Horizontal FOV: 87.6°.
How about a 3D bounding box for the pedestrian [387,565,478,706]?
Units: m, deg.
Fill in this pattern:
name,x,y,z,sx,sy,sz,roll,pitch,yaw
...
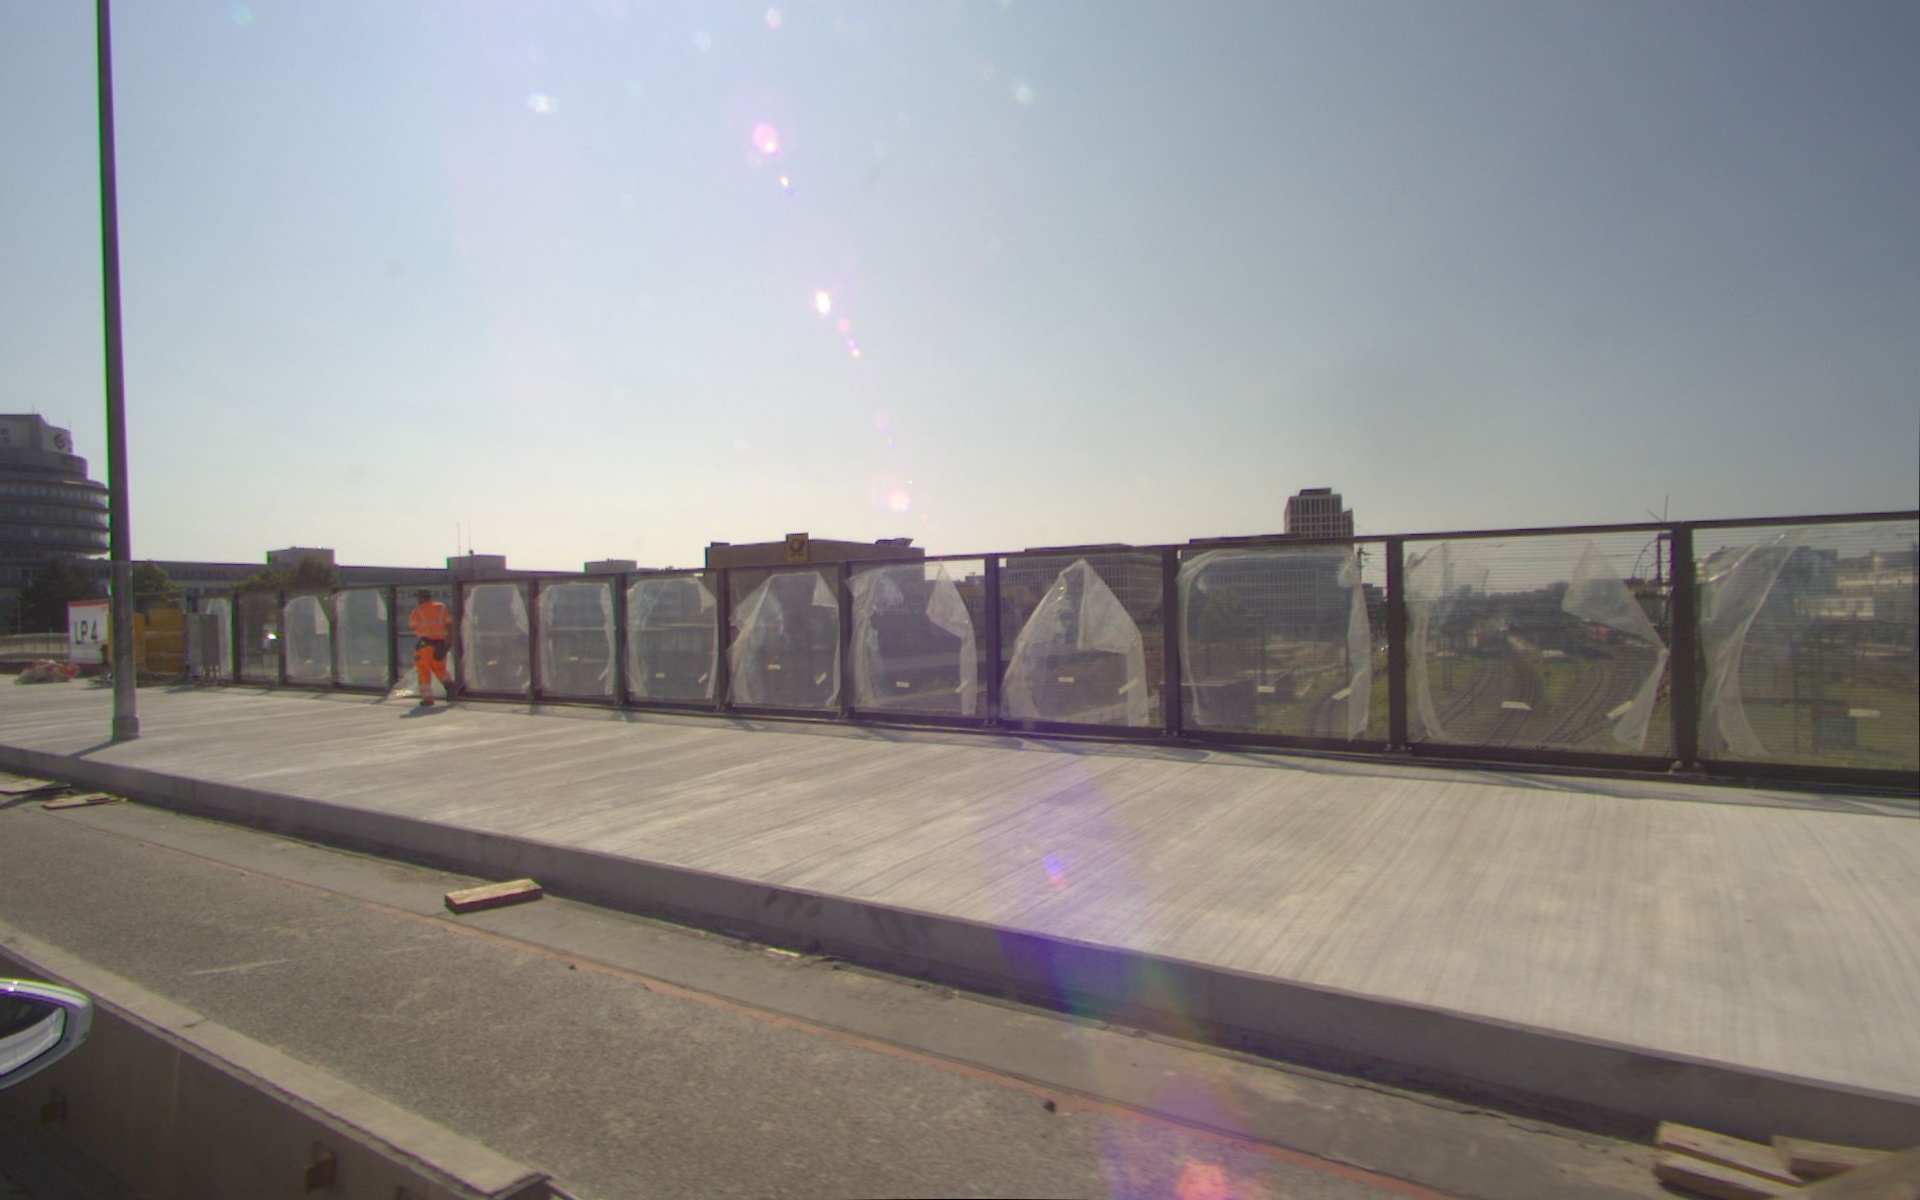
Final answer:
name,x,y,z,sx,sy,sz,roll,pitch,yaw
pedestrian,-7.724,0.501,14.663,1.002,1.991,0.729,-1,1,33
